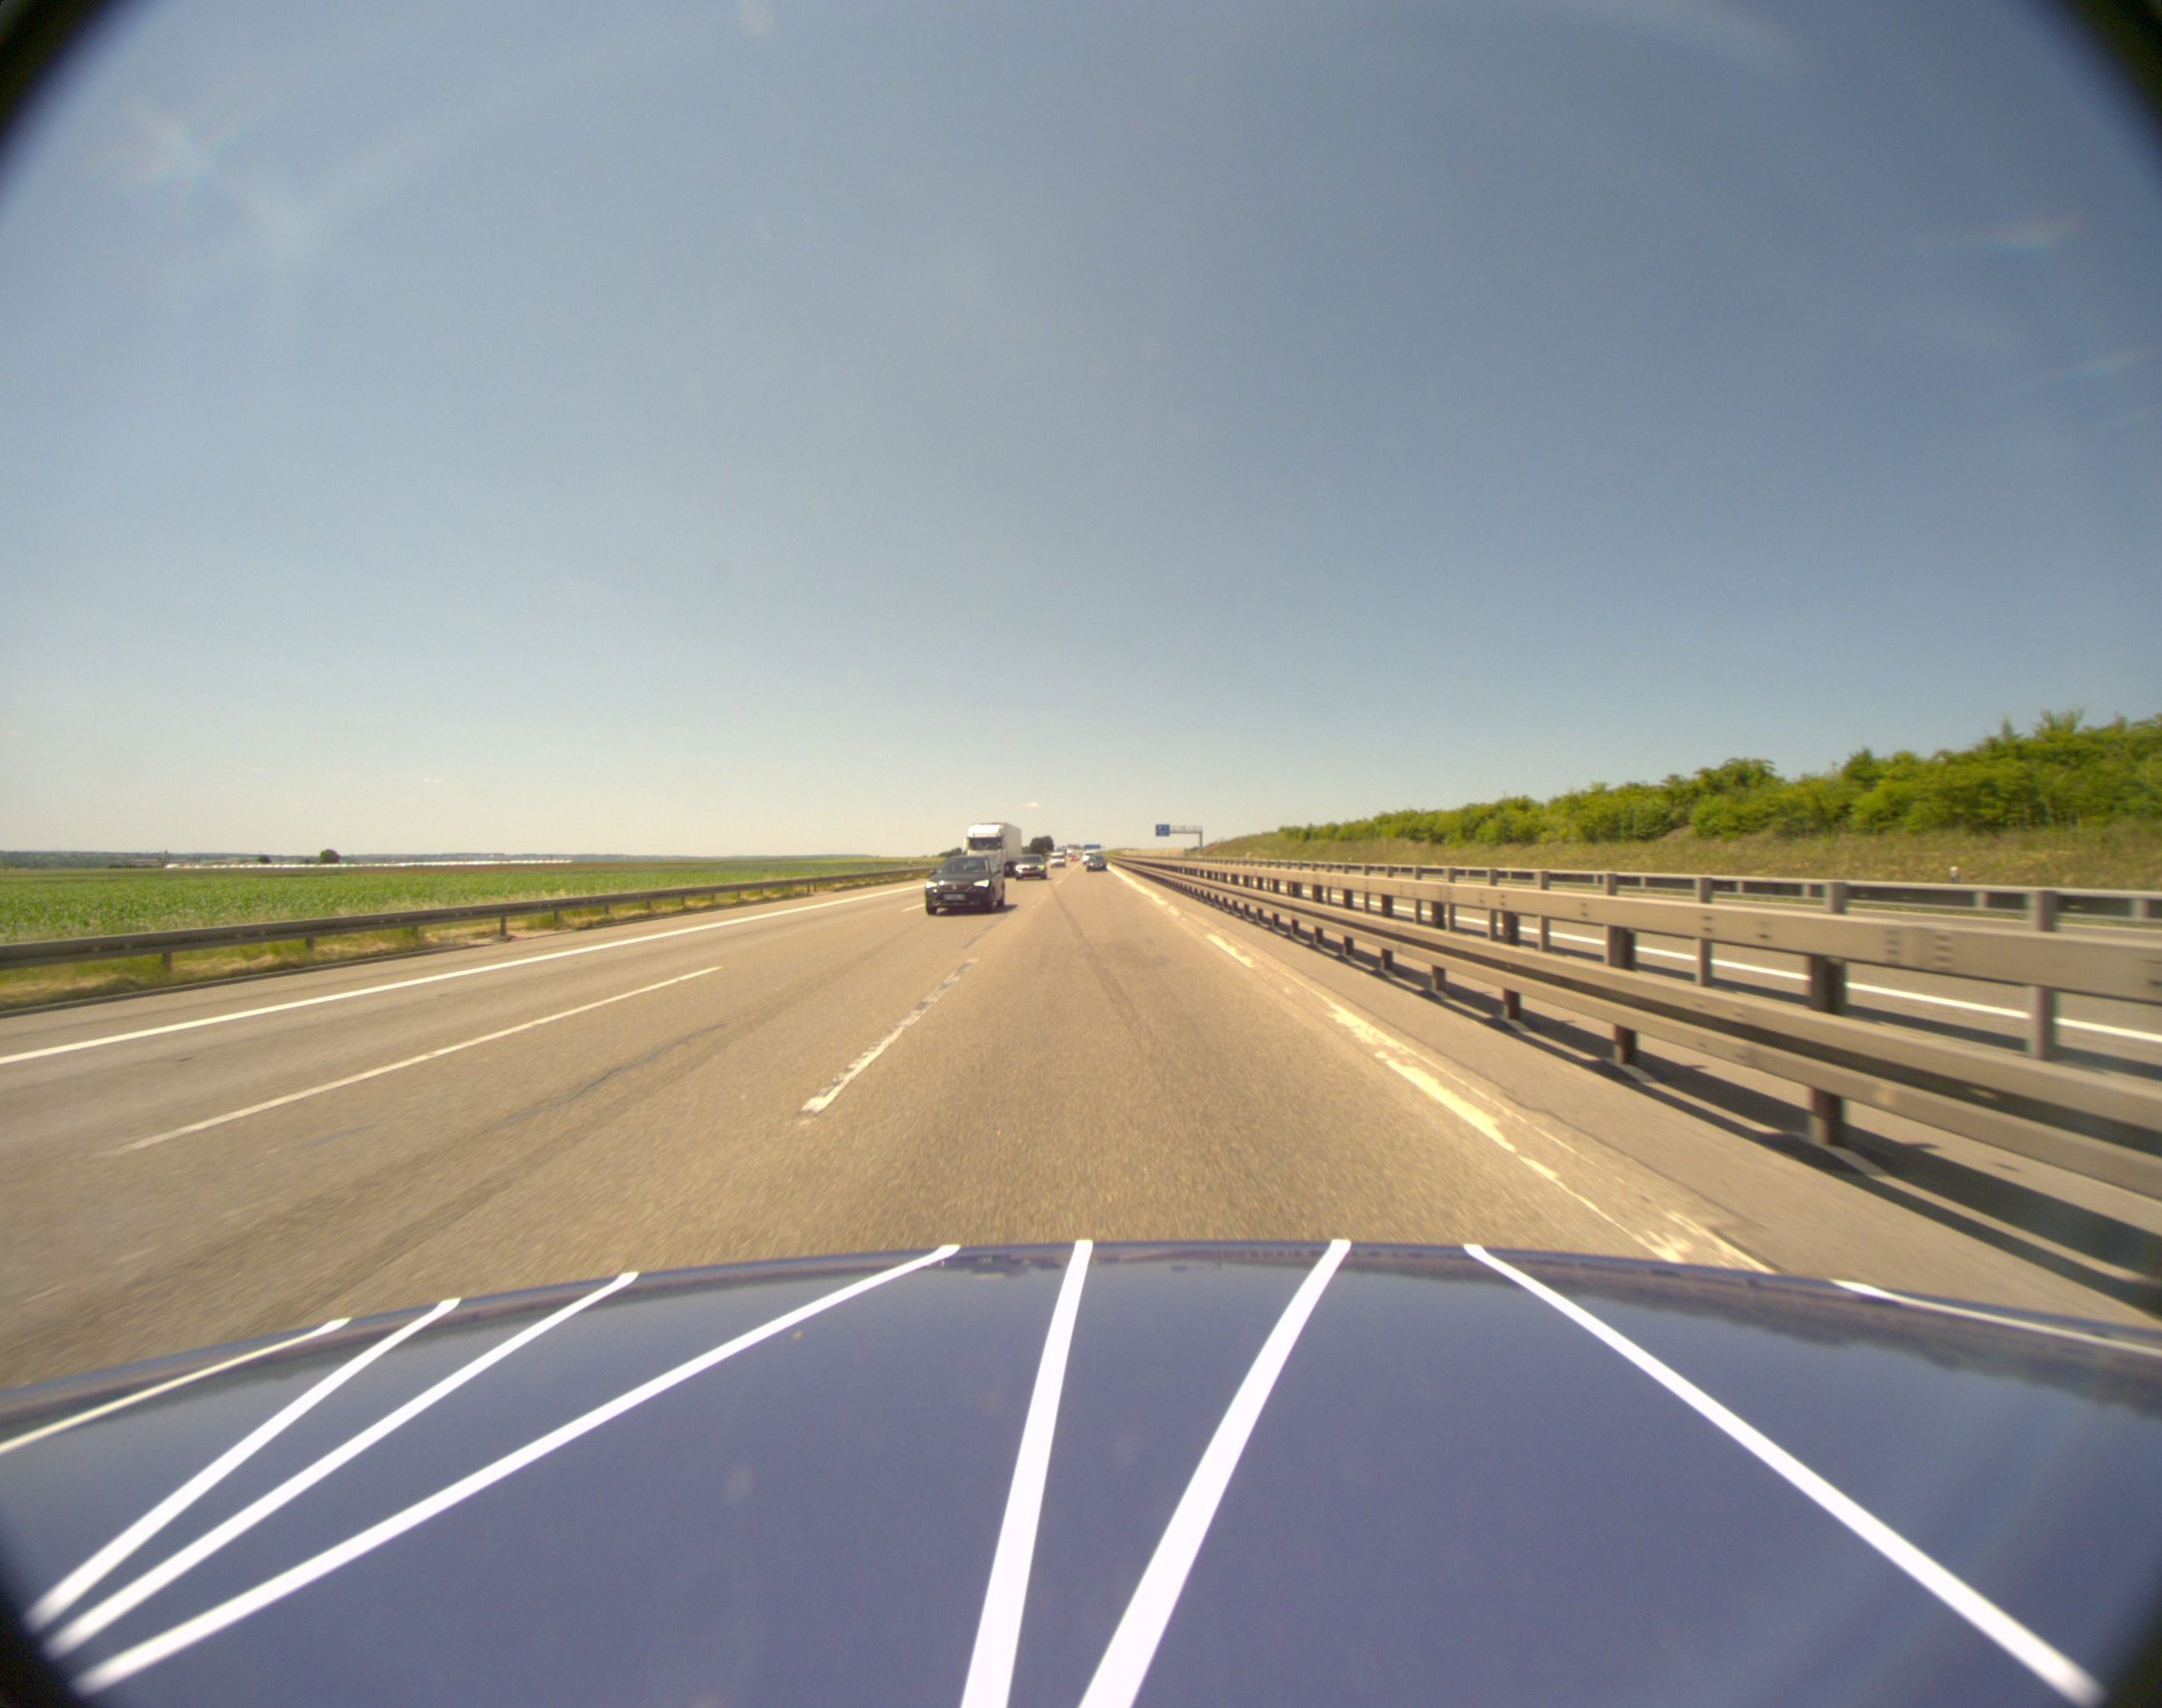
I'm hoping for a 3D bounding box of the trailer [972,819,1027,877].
[{"bbox_3d":[-6.567,-0.481,63.188,2.875,4.195,13.293,-2,0,0],"label":"trailer"}]

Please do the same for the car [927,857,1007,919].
[{"bbox_3d":[-3.217,0.913,22.115,1.801,1.553,3.822,-2,0,-2],"label":"car"}]

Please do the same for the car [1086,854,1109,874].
[{"bbox_3d":[1.336,0.837,63.583,1.715,1.586,4.546,0,0,-2],"label":"car"}]

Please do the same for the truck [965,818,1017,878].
[{"bbox_3d":[-6.571,-0.441,56.448,2.870,4.067,6.879,-2,0,0],"label":"truck"}]

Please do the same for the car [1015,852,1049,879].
[{"bbox_3d":[-3.116,0.763,49.346,1.856,1.638,4.645,-3,-1,0],"label":"car"}]

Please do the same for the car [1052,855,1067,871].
[{"bbox_3d":[-2.657,1.113,93.529,1.812,1.836,5.311,-1,0,-2],"label":"car"}]

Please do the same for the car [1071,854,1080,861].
[{"bbox_3d":[-1.262,0.795,171.877,1.723,1.514,3.582,-2,0,2],"label":"car"}]

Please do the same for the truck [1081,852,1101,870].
[{"bbox_3d":[1.395,0.928,106.742,2.334,2.378,6.685,-2,0,-2],"label":"truck"}]

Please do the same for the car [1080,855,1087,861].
[{"bbox_3d":[0.712,0.937,199.397,1.724,1.514,3.581,-2,0,-2],"label":"car"}]
